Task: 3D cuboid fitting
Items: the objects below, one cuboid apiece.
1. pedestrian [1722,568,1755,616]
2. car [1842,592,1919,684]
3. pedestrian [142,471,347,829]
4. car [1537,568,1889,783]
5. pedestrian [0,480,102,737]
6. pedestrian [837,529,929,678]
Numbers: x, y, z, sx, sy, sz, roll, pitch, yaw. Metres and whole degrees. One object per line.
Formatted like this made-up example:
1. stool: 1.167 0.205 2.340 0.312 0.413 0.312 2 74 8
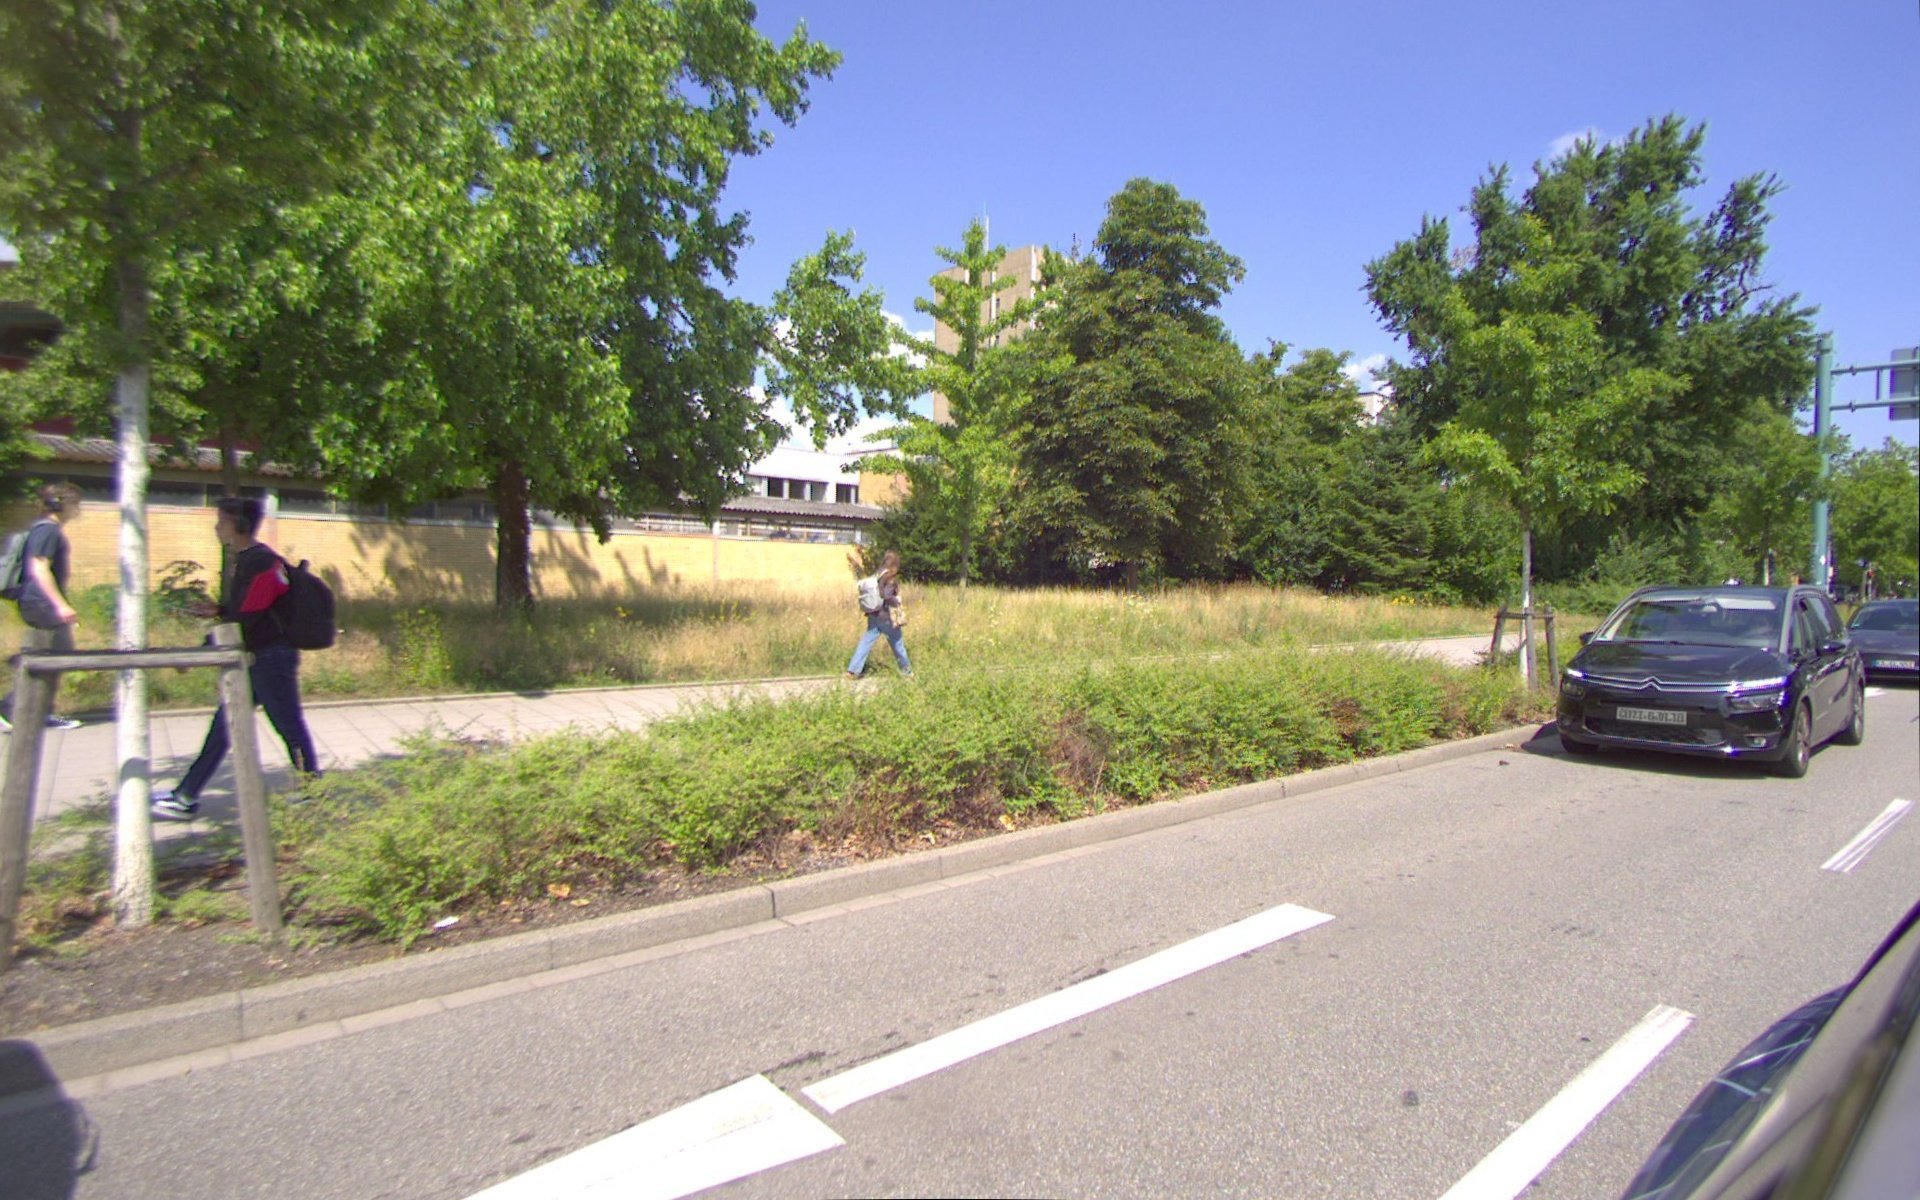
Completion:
1. pedestrian: 29.716 -0.312 38.629 0.827 1.787 0.843 -1 0 -41
2. car: 16.645 0.596 17.423 4.290 1.435 1.763 0 -1 -43
3. pedestrian: -3.903 0.231 5.520 0.833 1.771 0.667 0 2 -41
4. car: 7.504 0.578 9.915 4.441 1.643 1.861 0 -1 -41
5. pedestrian: -6.705 0.041 7.389 0.656 1.771 0.751 0 2 -41
6. pedestrian: -0.958 0.028 12.532 0.863 1.771 0.667 0 2 -41
